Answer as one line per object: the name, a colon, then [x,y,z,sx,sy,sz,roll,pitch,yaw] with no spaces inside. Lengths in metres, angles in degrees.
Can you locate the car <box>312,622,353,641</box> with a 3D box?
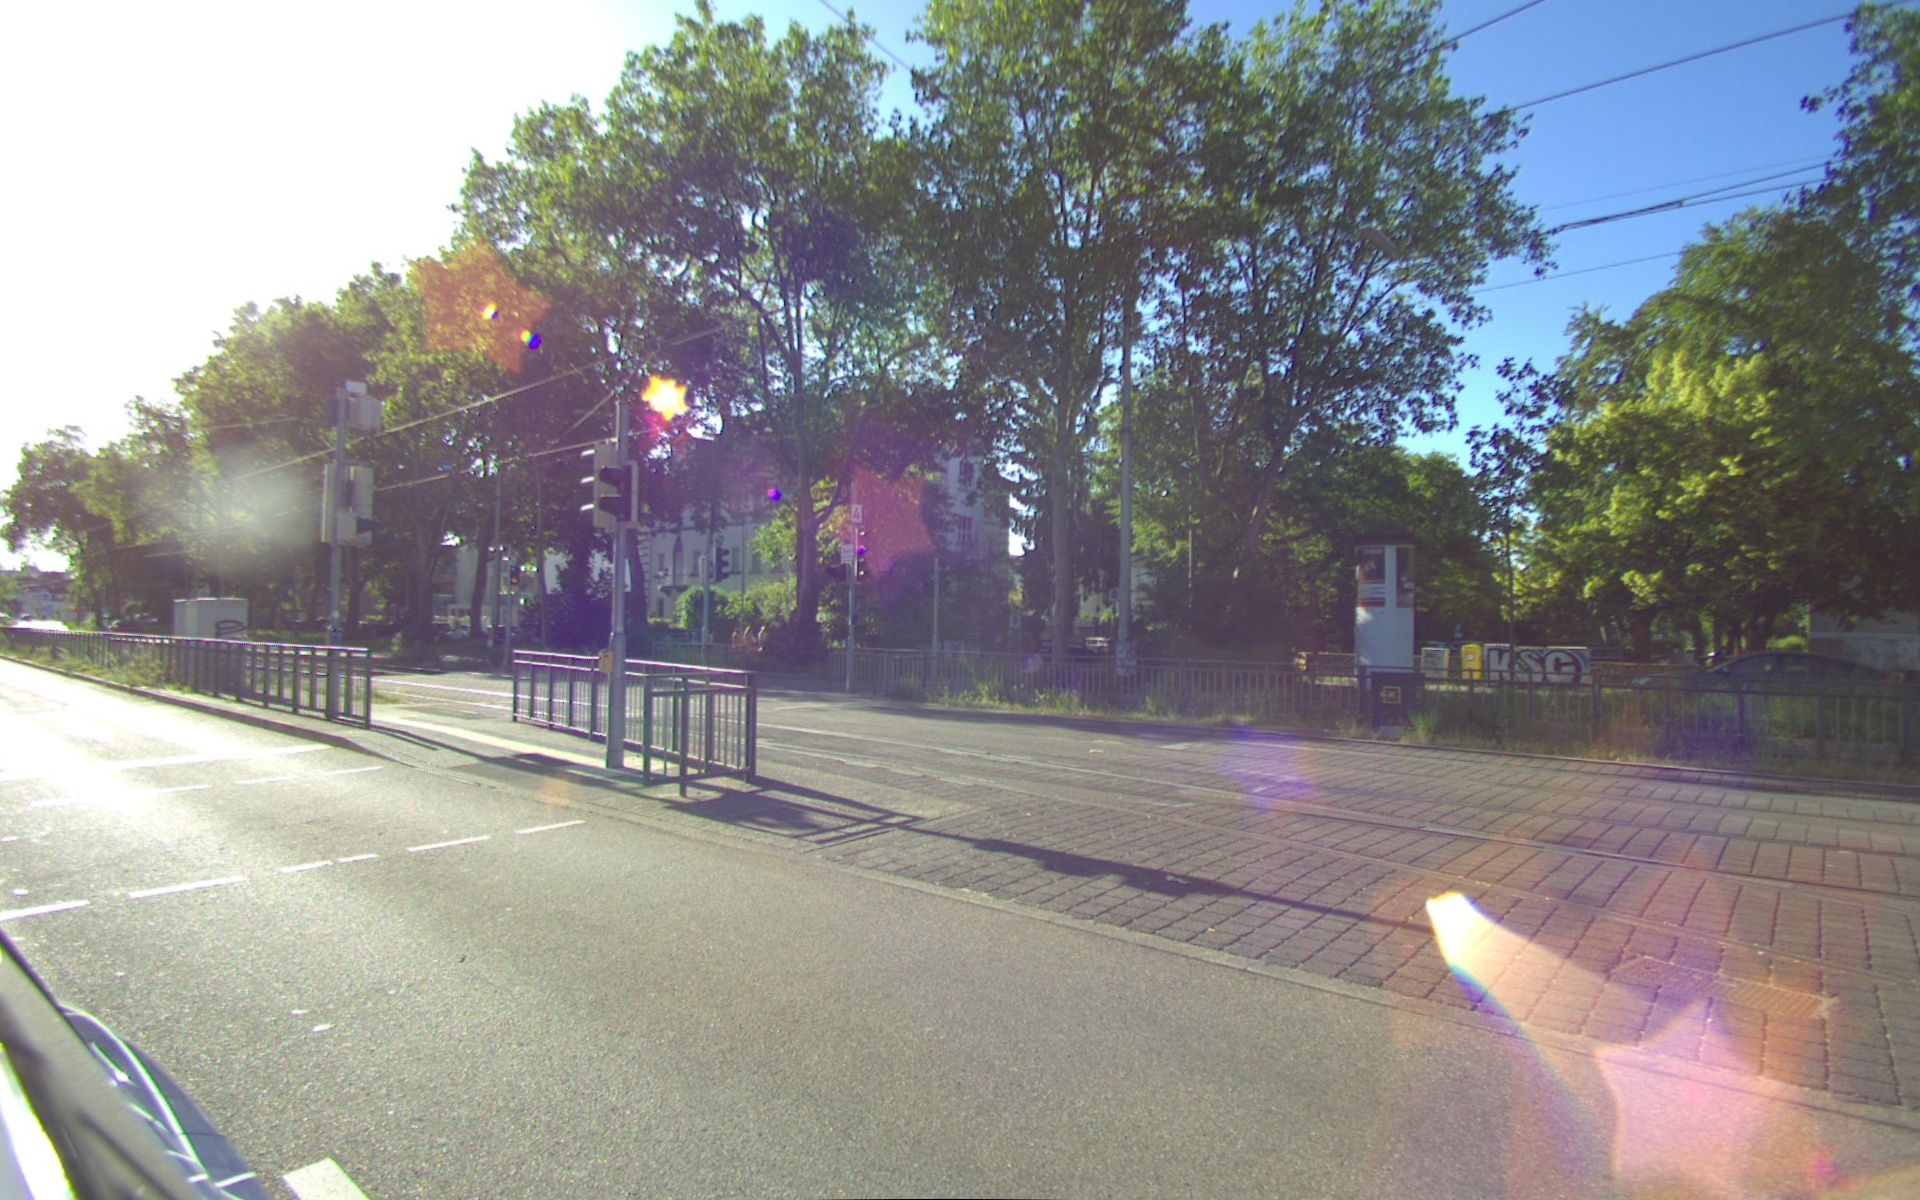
car: [-51.193,2.563,82.558,3.999,1.484,1.778,-1,-2,42]

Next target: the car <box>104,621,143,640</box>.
car: [-69.054,2.516,83.496,4.338,1.510,1.667,-1,-2,39]

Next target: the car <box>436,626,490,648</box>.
car: [-32.348,2.418,65.805,4.460,1.334,1.622,-1,-4,43]

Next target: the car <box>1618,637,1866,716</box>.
car: [16.933,1.586,22.071,4.142,1.521,1.652,-1,-2,41]

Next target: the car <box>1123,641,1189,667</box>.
car: [11.233,3.065,57.958,2.000,1.429,3.944,-1,-2,42]

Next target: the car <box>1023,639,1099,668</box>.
car: [5.262,2.736,52.293,2.000,1.429,3.944,-1,-2,42]

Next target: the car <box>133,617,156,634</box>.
car: [-103.130,3.186,127.988,1.970,2.029,4.003,-2,0,-44]

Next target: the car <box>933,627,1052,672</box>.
car: [1.116,1.729,36.213,4.142,1.521,1.652,-1,-2,41]

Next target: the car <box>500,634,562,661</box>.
car: [-25.133,2.754,59.215,4.318,1.451,1.716,-1,-2,43]
